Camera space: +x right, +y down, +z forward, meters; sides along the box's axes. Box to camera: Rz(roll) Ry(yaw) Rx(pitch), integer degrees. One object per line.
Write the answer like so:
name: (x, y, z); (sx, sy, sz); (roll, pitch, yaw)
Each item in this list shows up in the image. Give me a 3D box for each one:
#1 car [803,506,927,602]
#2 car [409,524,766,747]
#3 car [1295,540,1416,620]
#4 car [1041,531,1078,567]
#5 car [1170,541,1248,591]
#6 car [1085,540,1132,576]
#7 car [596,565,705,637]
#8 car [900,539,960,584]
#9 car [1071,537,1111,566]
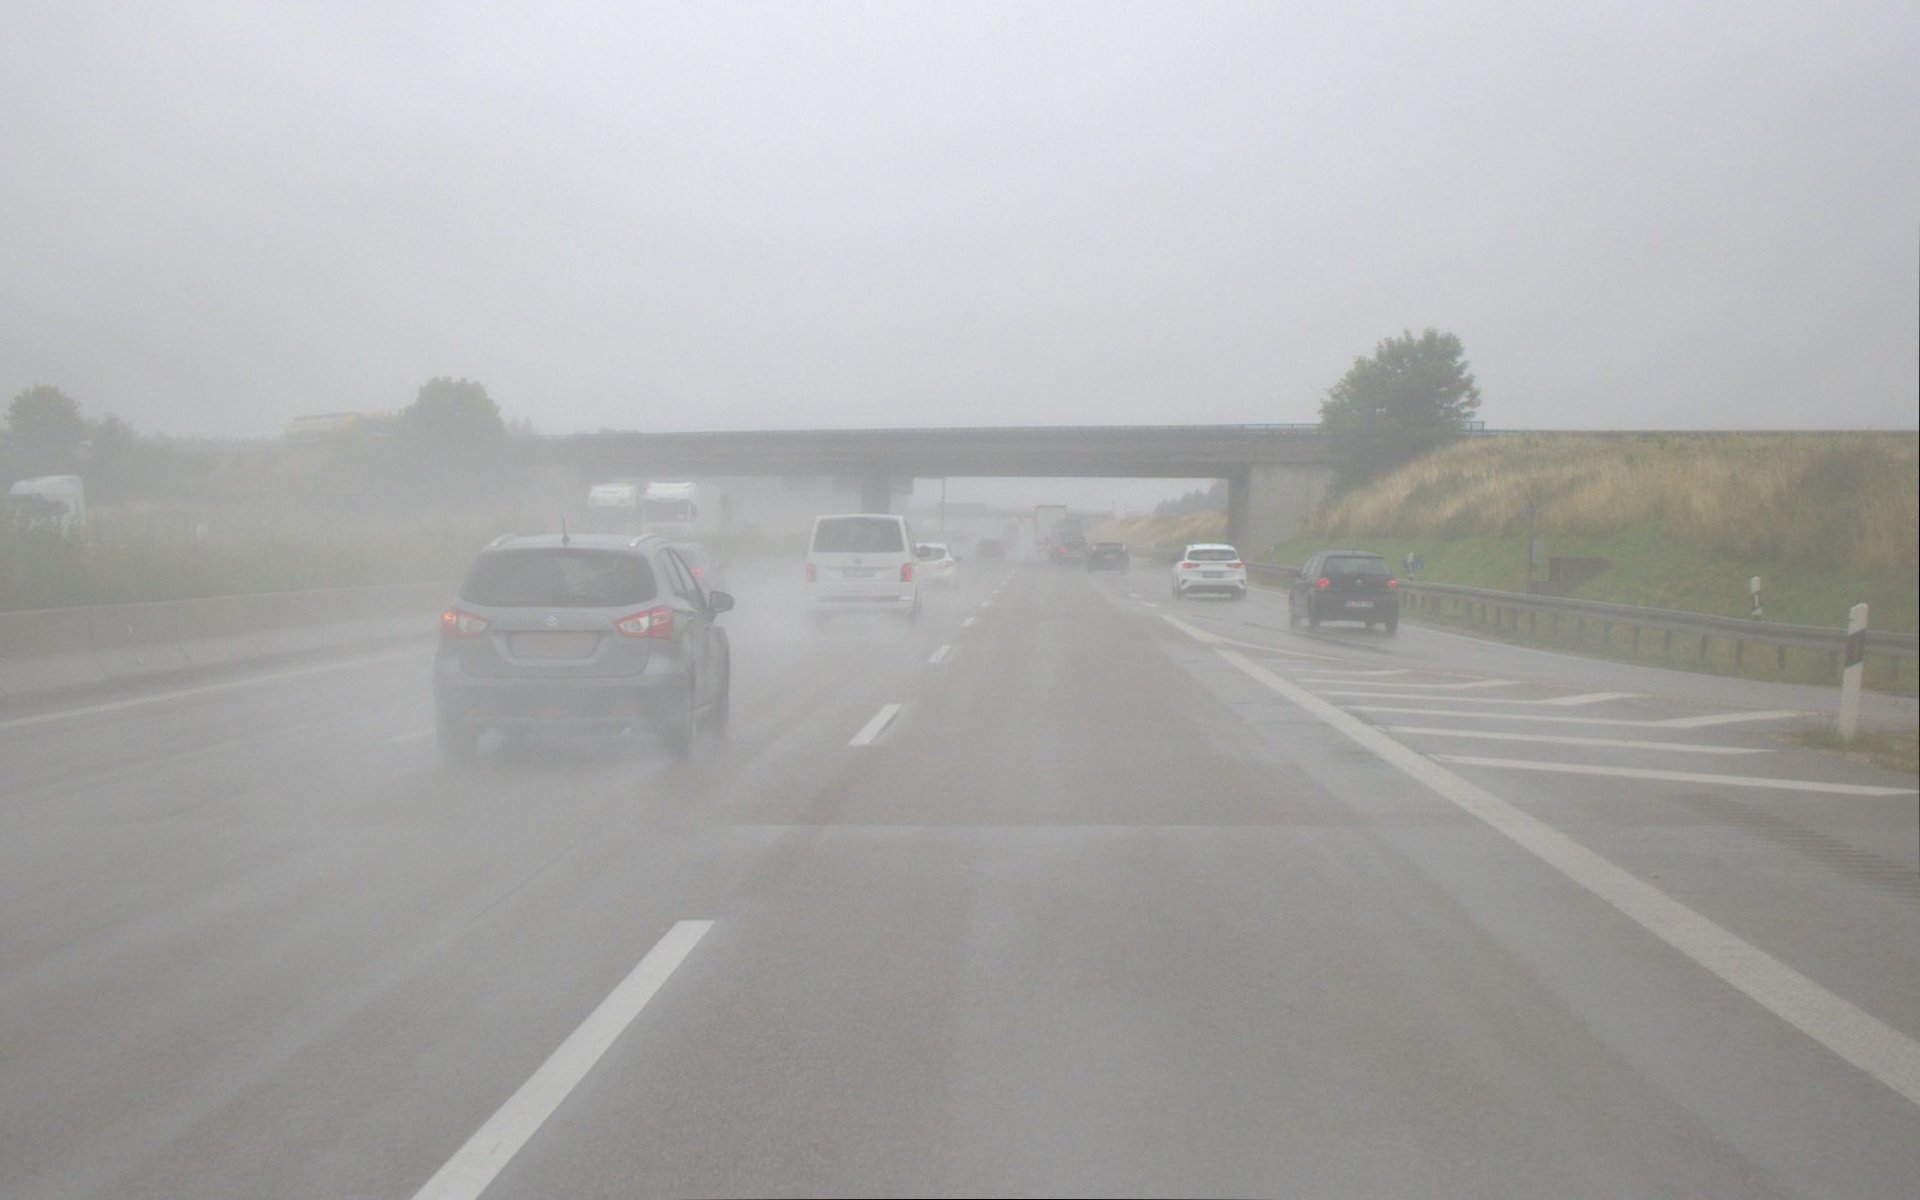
car: (-1.607, -0.790, 59.197); (1.897, 1.580, 4.000); (0, 1, 2)
car: (-2.666, 0.204, 25.722); (1.846, 1.508, 4.756); (0, 1, 4)
car: (7.310, -0.389, 63.856); (1.731, 1.416, 3.658); (0, 1, -1)
car: (5.871, -3.046, 204.061); (1.993, 2.094, 4.000); (0, 1, -1)
car: (6.558, -0.898, 90.883); (1.994, 1.262, 4.000); (0, 1, 3)
car: (6.399, -1.819, 148.844); (1.801, 1.503, 4.000); (0, 1, -1)
car: (-5.948, 0.002, 66.421); (1.613, 1.349, 4.000); (0, 1, 2)
car: (-0.814, -1.051, 94.121); (1.468, 1.204, 2.991); (0, 1, 2)
car: (6.807, -2.535, 178.820); (1.993, 1.459, 4.000); (0, 1, 1)
